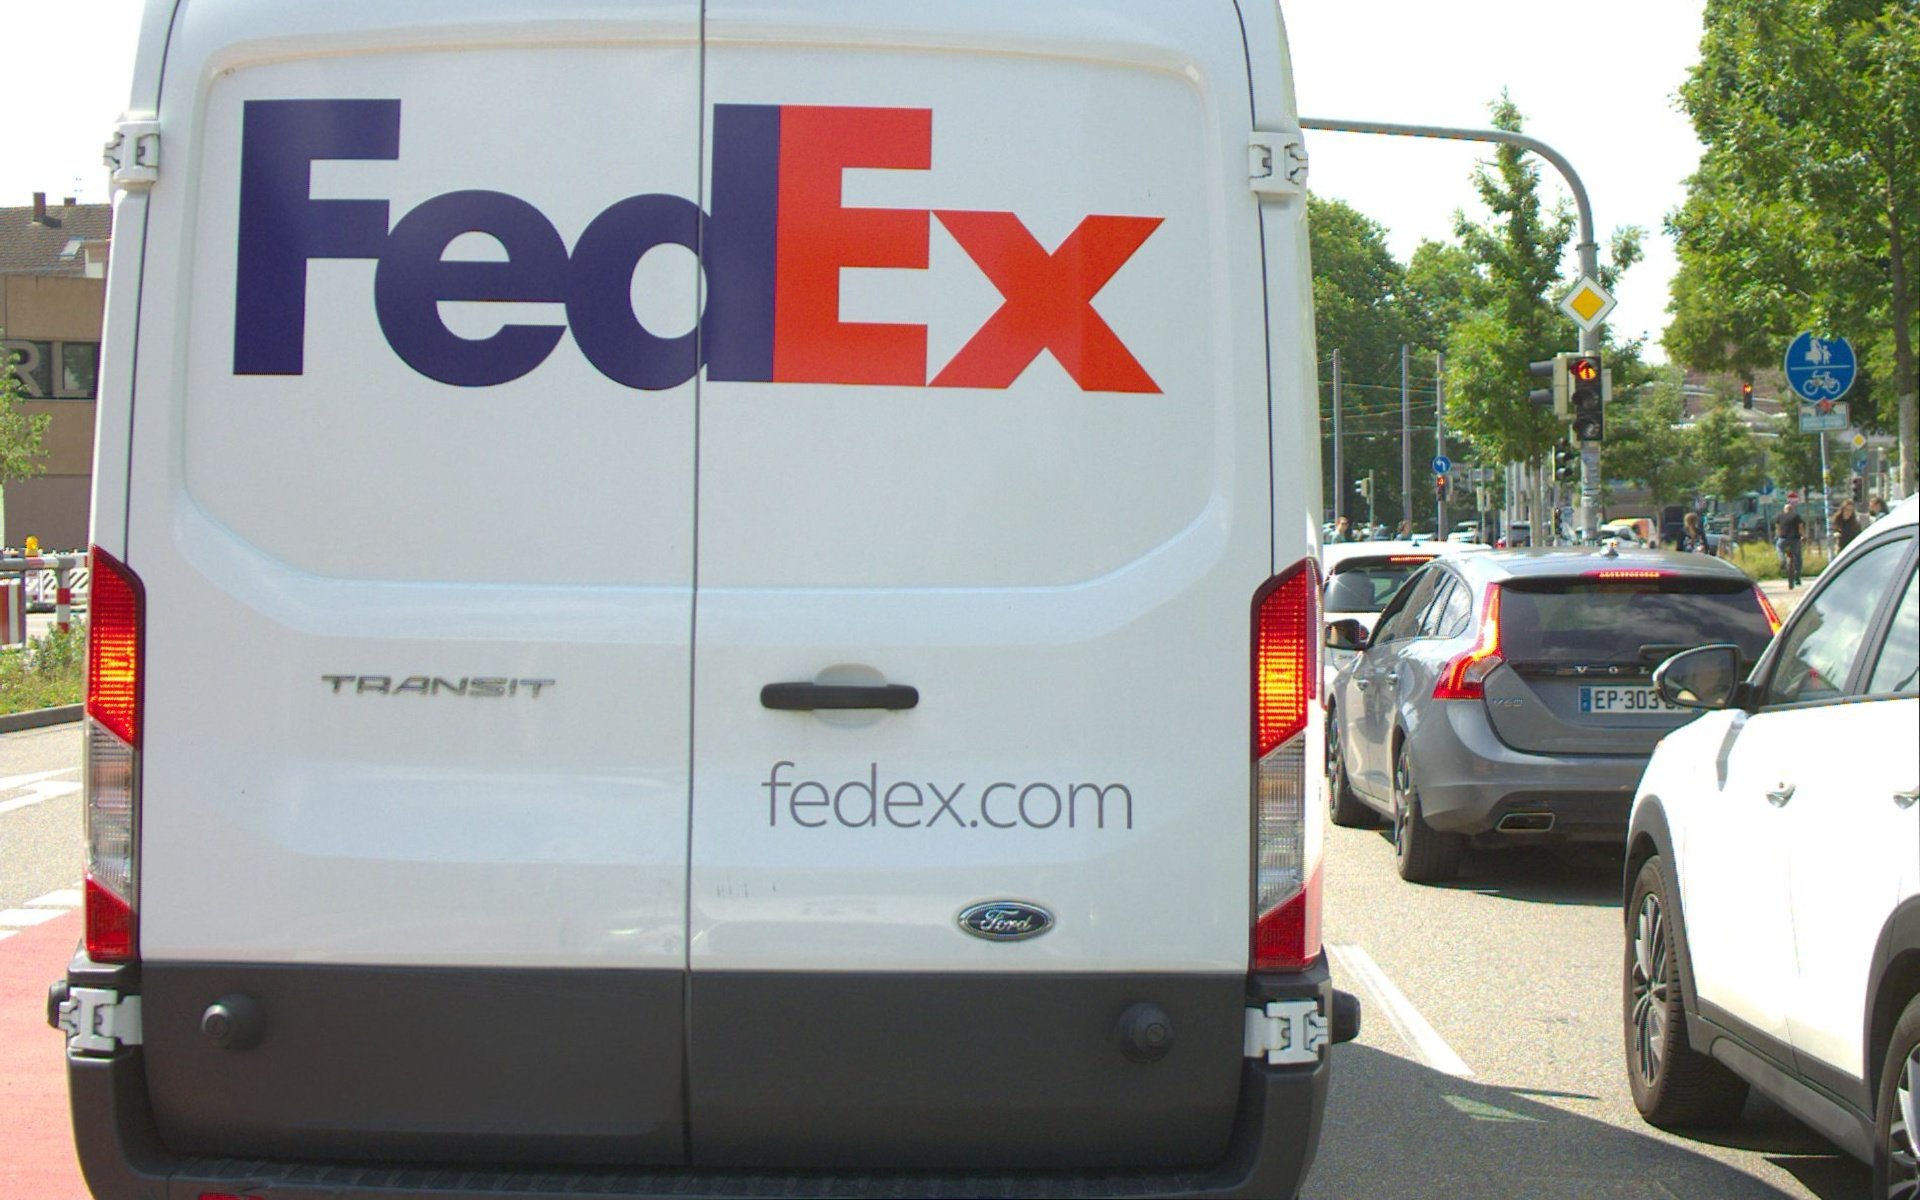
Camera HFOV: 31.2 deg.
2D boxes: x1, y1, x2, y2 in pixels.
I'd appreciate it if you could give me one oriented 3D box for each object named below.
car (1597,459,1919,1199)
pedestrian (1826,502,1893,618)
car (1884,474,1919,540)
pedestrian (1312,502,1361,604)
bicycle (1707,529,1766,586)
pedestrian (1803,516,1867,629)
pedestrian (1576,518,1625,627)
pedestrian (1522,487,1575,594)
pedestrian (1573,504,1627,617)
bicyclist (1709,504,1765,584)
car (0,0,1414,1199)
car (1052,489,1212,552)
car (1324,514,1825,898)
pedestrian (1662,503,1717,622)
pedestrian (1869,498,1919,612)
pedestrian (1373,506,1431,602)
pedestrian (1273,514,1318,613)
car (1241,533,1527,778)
[{"bbox_3d":[2.581,0.553,7.182,1.814,1.673,3.974,0,1,1],"label":"car"},{"bbox_3d":[14.530,-0.652,55.534,0.758,1.843,0.816,-1,1,-10],"label":"pedestrian"},{"bbox_3d":[42.736,-3.848,144.626,7.059,2.708,2.497,1,0,-13],"label":"car"},{"bbox_3d":[6.917,-0.864,63.116,0.758,1.843,0.816,-1,1,-3],"label":"pedestrian"},{"bbox_3d":[21.230,-1.170,93.909,1.426,1.459,4.308,0,2,15],"label":"bicycle"},{"bbox_3d":[12.968,-0.415,50.960,0.759,1.649,0.816,-1,1,3],"label":"pedestrian"},{"bbox_3d":[11.004,-0.476,59.039,0.759,1.843,0.816,0,1,15],"label":"pedestrian"},{"bbox_3d":[10.256,-1.036,59.893,0.813,1.843,0.761,0,1,3],"label":"pedestrian"},{"bbox_3d":[10.547,-0.655,56.679,0.759,1.843,0.815,0,1,18],"label":"pedestrian"},{"bbox_3d":[21.250,-1.532,94.022,1.433,2.164,1.338,0,1,15],"label":"bicyclist"},{"bbox_3d":[-0.351,0.066,7.173,2.072,2.572,4.428,0,1,1],"label":"car"},{"bbox_3d":[7.768,-3.594,154.902,7.063,2.708,2.496,1,0,5],"label":"car"},{"bbox_3d":[2.695,0.385,15.830,1.691,1.543,3.720,0,1,1],"label":"car"},{"bbox_3d":[11.485,-0.596,54.114,0.759,1.843,0.815,0,1,18],"label":"pedestrian"},{"bbox_3d":[15.343,-0.738,56.005,0.758,1.843,0.816,-1,1,-8],"label":"pedestrian"},{"bbox_3d":[8.542,-0.896,66.451,0.815,1.843,0.759,1,2,43],"label":"pedestrian"},{"bbox_3d":[6.294,-0.696,64.523,0.759,1.843,0.816,0,1,1],"label":"pedestrian"},{"bbox_3d":[2.713,0.304,22.606,1.499,1.459,3.474,0,1,1],"label":"car"}]
